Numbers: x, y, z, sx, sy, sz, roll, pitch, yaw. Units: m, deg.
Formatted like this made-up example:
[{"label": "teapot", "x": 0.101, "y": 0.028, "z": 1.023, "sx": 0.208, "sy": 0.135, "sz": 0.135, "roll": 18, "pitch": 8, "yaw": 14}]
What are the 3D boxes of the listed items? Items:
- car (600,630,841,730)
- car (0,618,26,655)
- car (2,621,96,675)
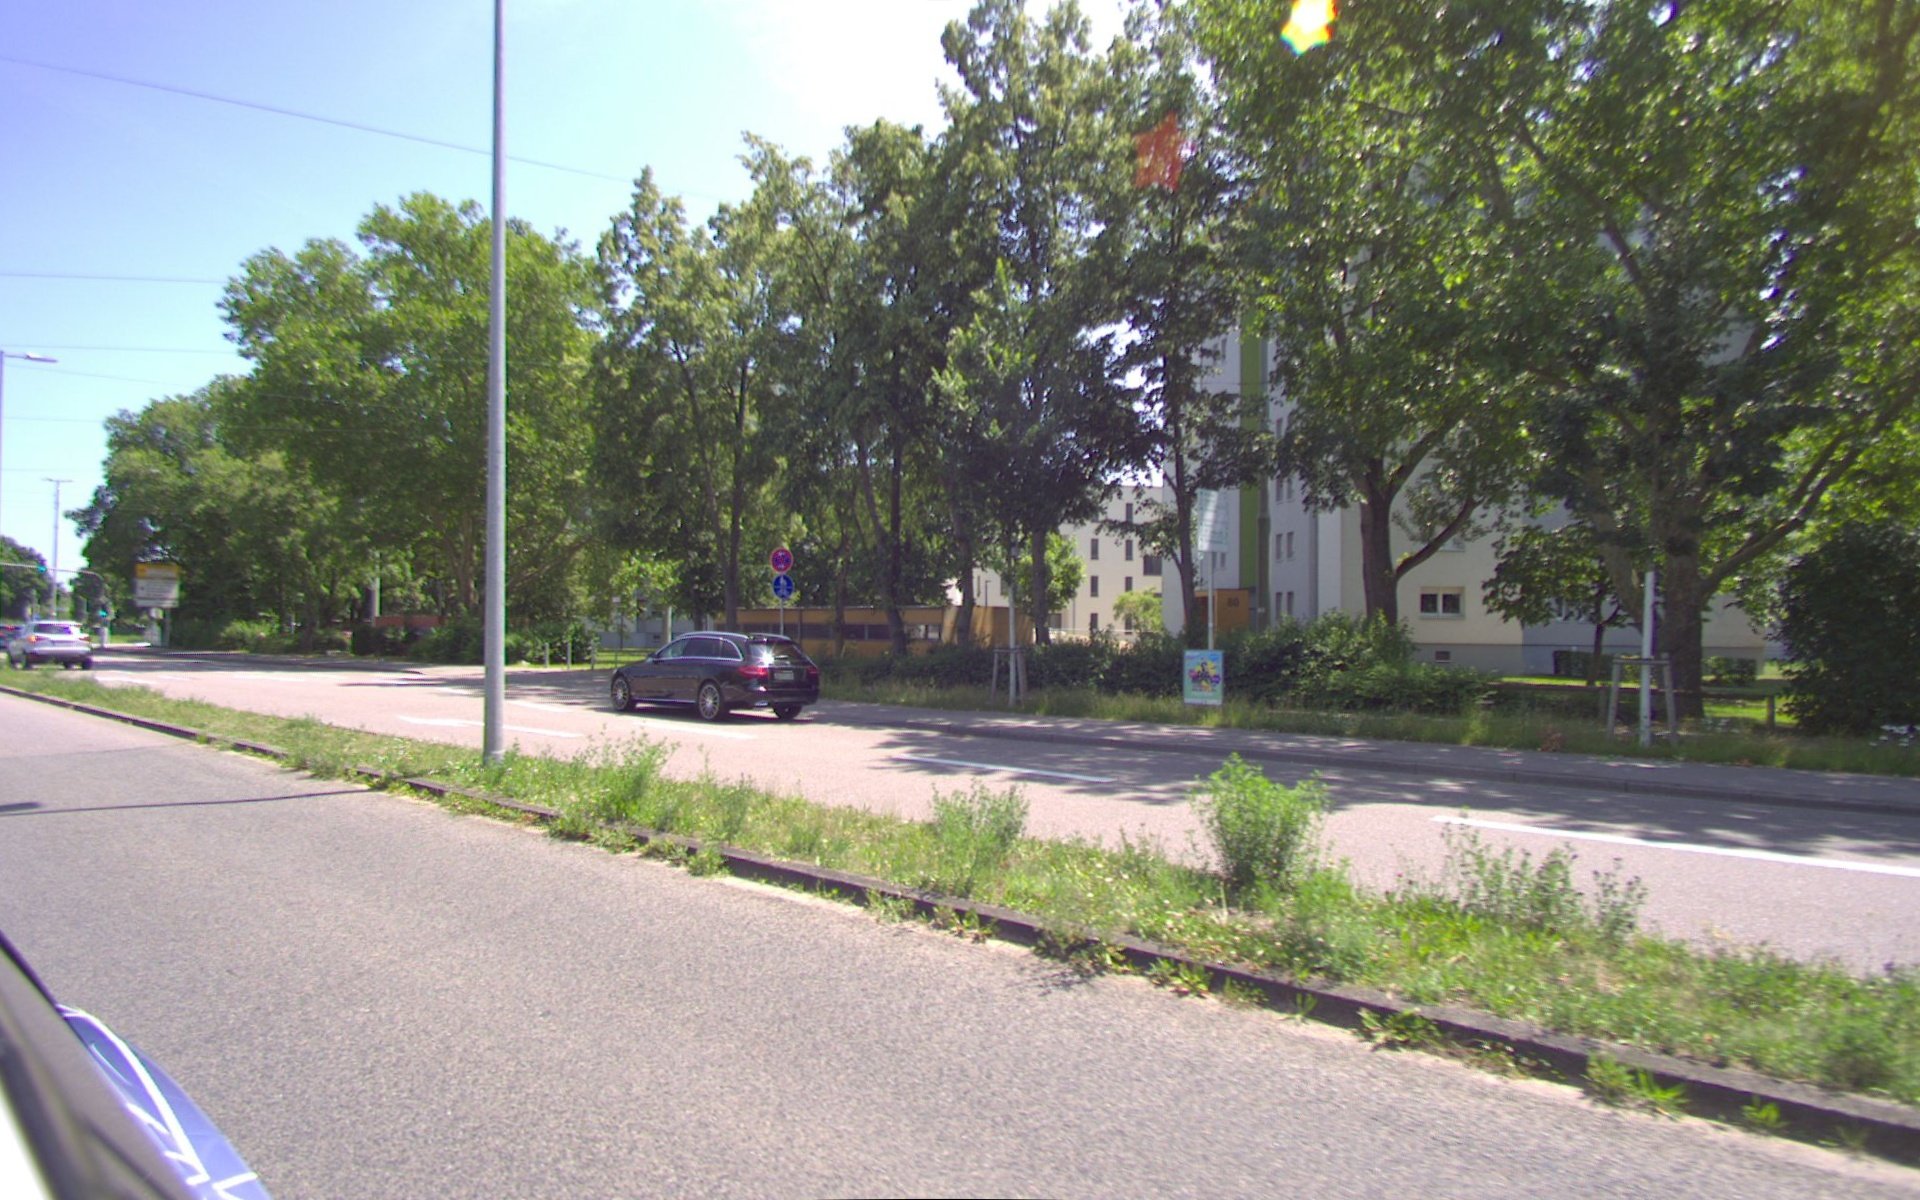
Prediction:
[{"label": "car", "x": -4.306, "y": 1.337, "z": 17.779, "sx": 4.633, "sy": 1.520, "sz": 1.722, "roll": -1, "pitch": -5, "yaw": 41}, {"label": "car", "x": -53.905, "y": 2.028, "z": 56.501, "sx": 3.995, "sy": 2.029, "sz": 1.974, "roll": -1, "pitch": -3, "yaw": 39}, {"label": "car", "x": -30.666, "y": 1.553, "z": 34.048, "sx": 3.996, "sy": 1.652, "sz": 1.793, "roll": 0, "pitch": -1, "yaw": 40}]
